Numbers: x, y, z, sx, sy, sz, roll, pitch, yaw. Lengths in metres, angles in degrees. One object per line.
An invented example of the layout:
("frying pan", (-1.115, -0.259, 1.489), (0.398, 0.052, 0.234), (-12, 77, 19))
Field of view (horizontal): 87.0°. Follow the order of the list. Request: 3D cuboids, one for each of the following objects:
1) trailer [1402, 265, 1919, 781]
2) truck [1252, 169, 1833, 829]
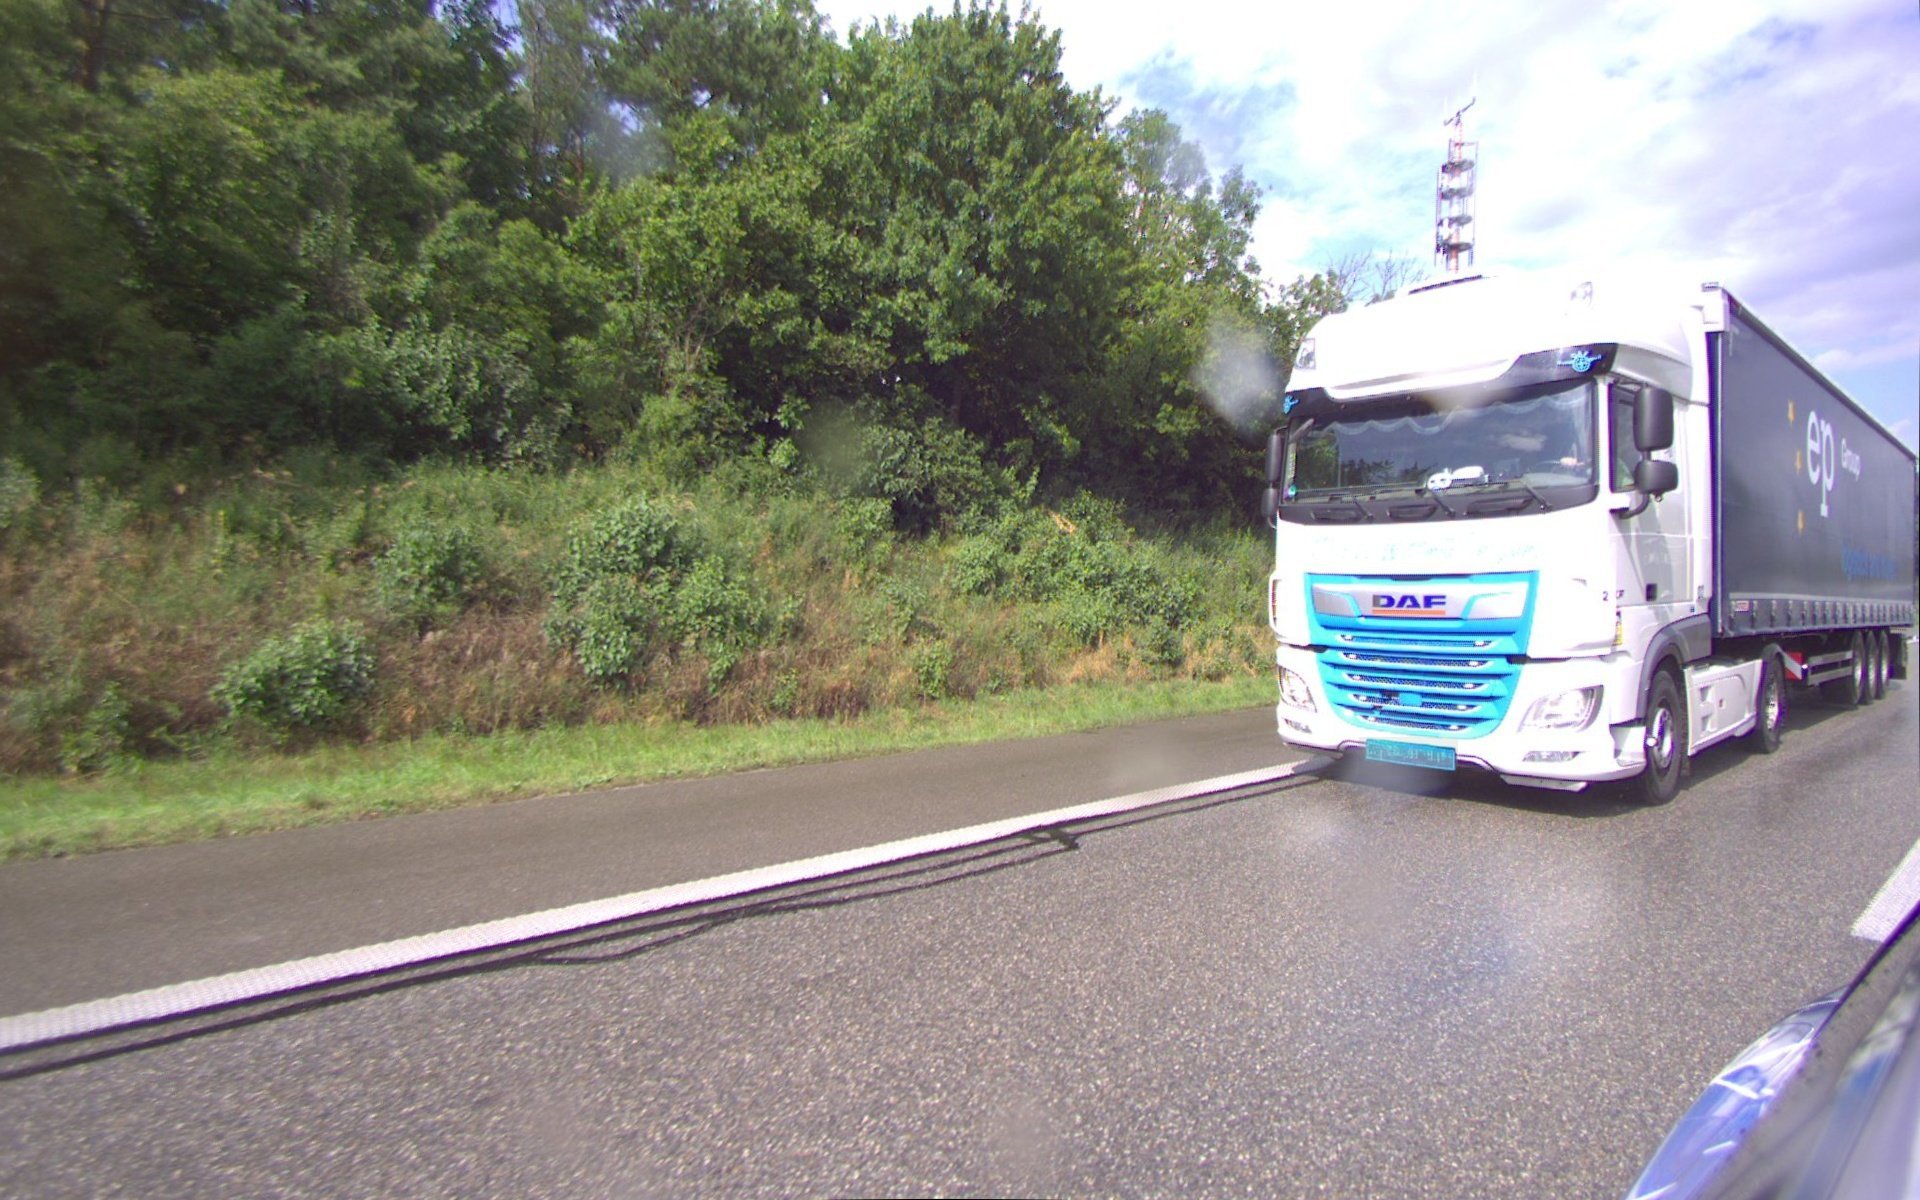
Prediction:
("trailer", (10.385, -0.667, 13.504), (13.820, 4.046, 2.638), (-1, 0, -41))
("truck", (5.902, -0.656, 9.566), (7.164, 4.046, 2.611), (0, 0, -41))
